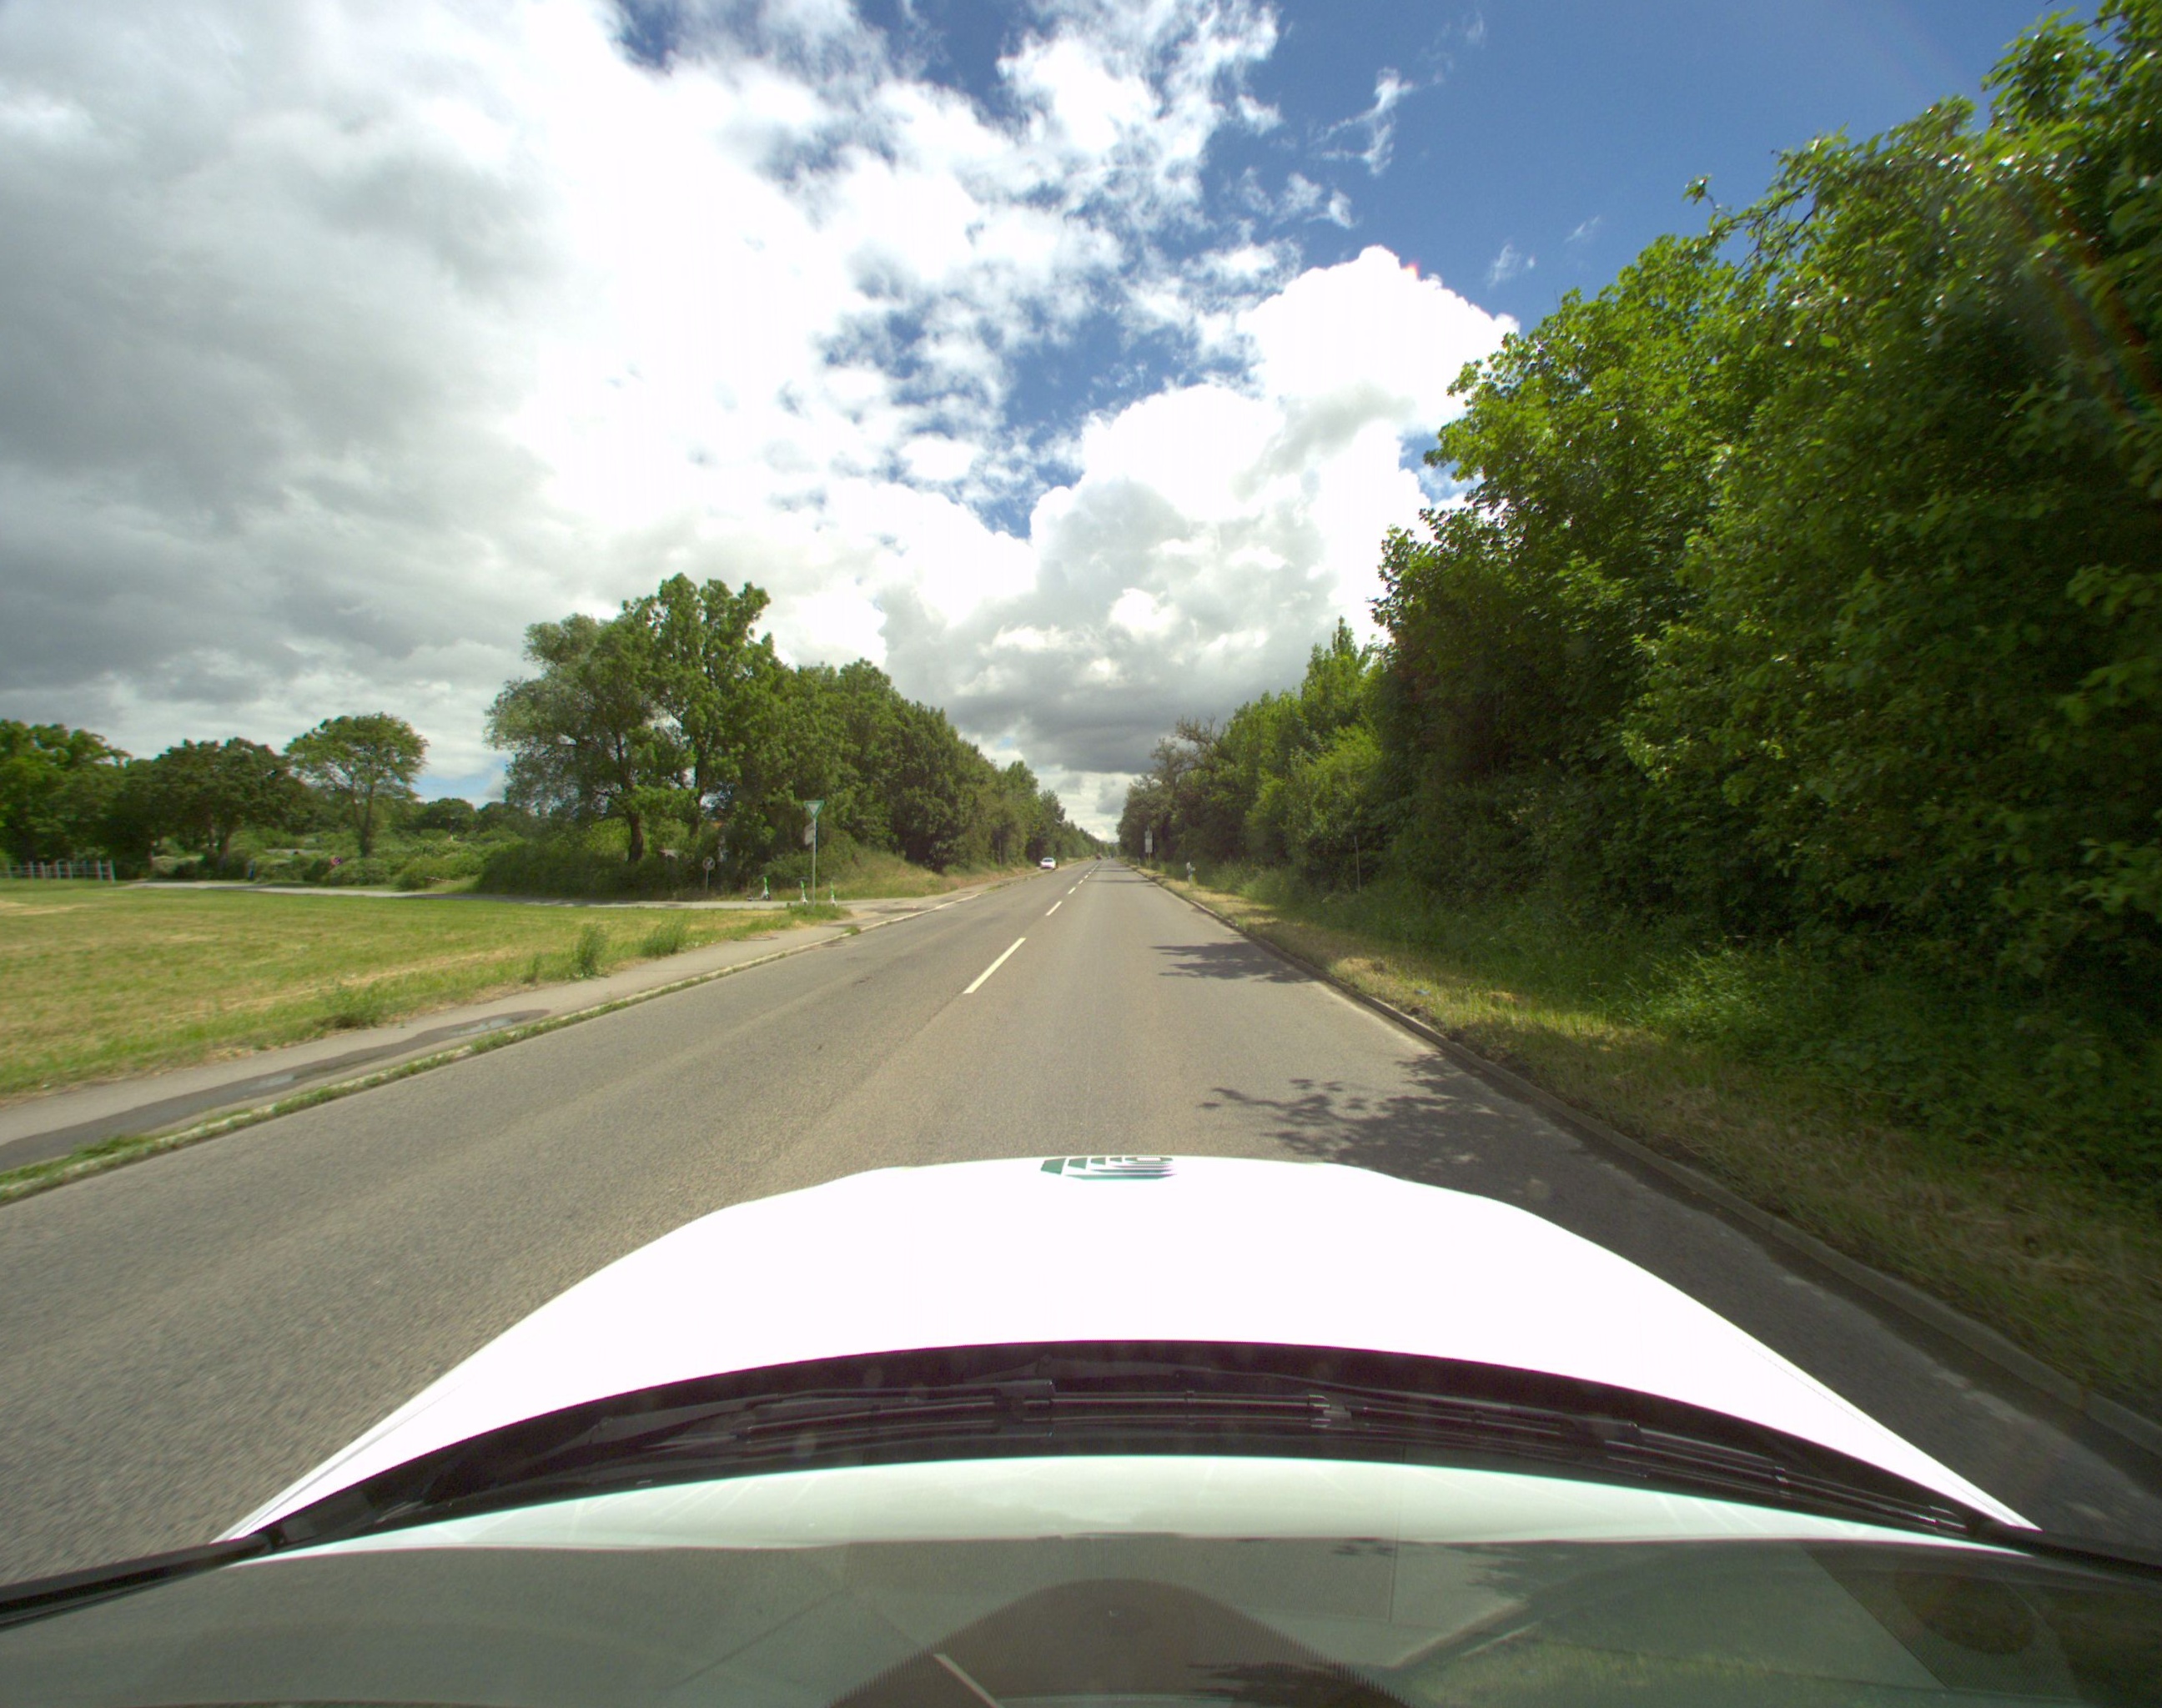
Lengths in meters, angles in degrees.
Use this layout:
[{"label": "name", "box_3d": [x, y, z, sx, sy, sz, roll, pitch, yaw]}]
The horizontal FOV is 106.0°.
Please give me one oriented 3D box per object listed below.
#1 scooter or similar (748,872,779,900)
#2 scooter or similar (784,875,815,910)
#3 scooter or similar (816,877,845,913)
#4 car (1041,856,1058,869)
[{"label": "scooter or similar", "box_3d": [-13.731, 1.374, 35.200, 1.234, 1.168, 0.408, -1, 0, 14]}, {"label": "scooter or similar", "box_3d": [-9.706, 1.308, 28.043, 1.334, 1.168, 0.409, -1, 0, 42]}, {"label": "scooter or similar", "box_3d": [-8.425, 1.364, 27.353, 0.409, 1.168, 1.335, -1, 0, -42]}, {"label": "car", "box_3d": [-3.999, 1.089, 102.758, 1.791, 1.543, 3.956, -2, -1, 2]}]
